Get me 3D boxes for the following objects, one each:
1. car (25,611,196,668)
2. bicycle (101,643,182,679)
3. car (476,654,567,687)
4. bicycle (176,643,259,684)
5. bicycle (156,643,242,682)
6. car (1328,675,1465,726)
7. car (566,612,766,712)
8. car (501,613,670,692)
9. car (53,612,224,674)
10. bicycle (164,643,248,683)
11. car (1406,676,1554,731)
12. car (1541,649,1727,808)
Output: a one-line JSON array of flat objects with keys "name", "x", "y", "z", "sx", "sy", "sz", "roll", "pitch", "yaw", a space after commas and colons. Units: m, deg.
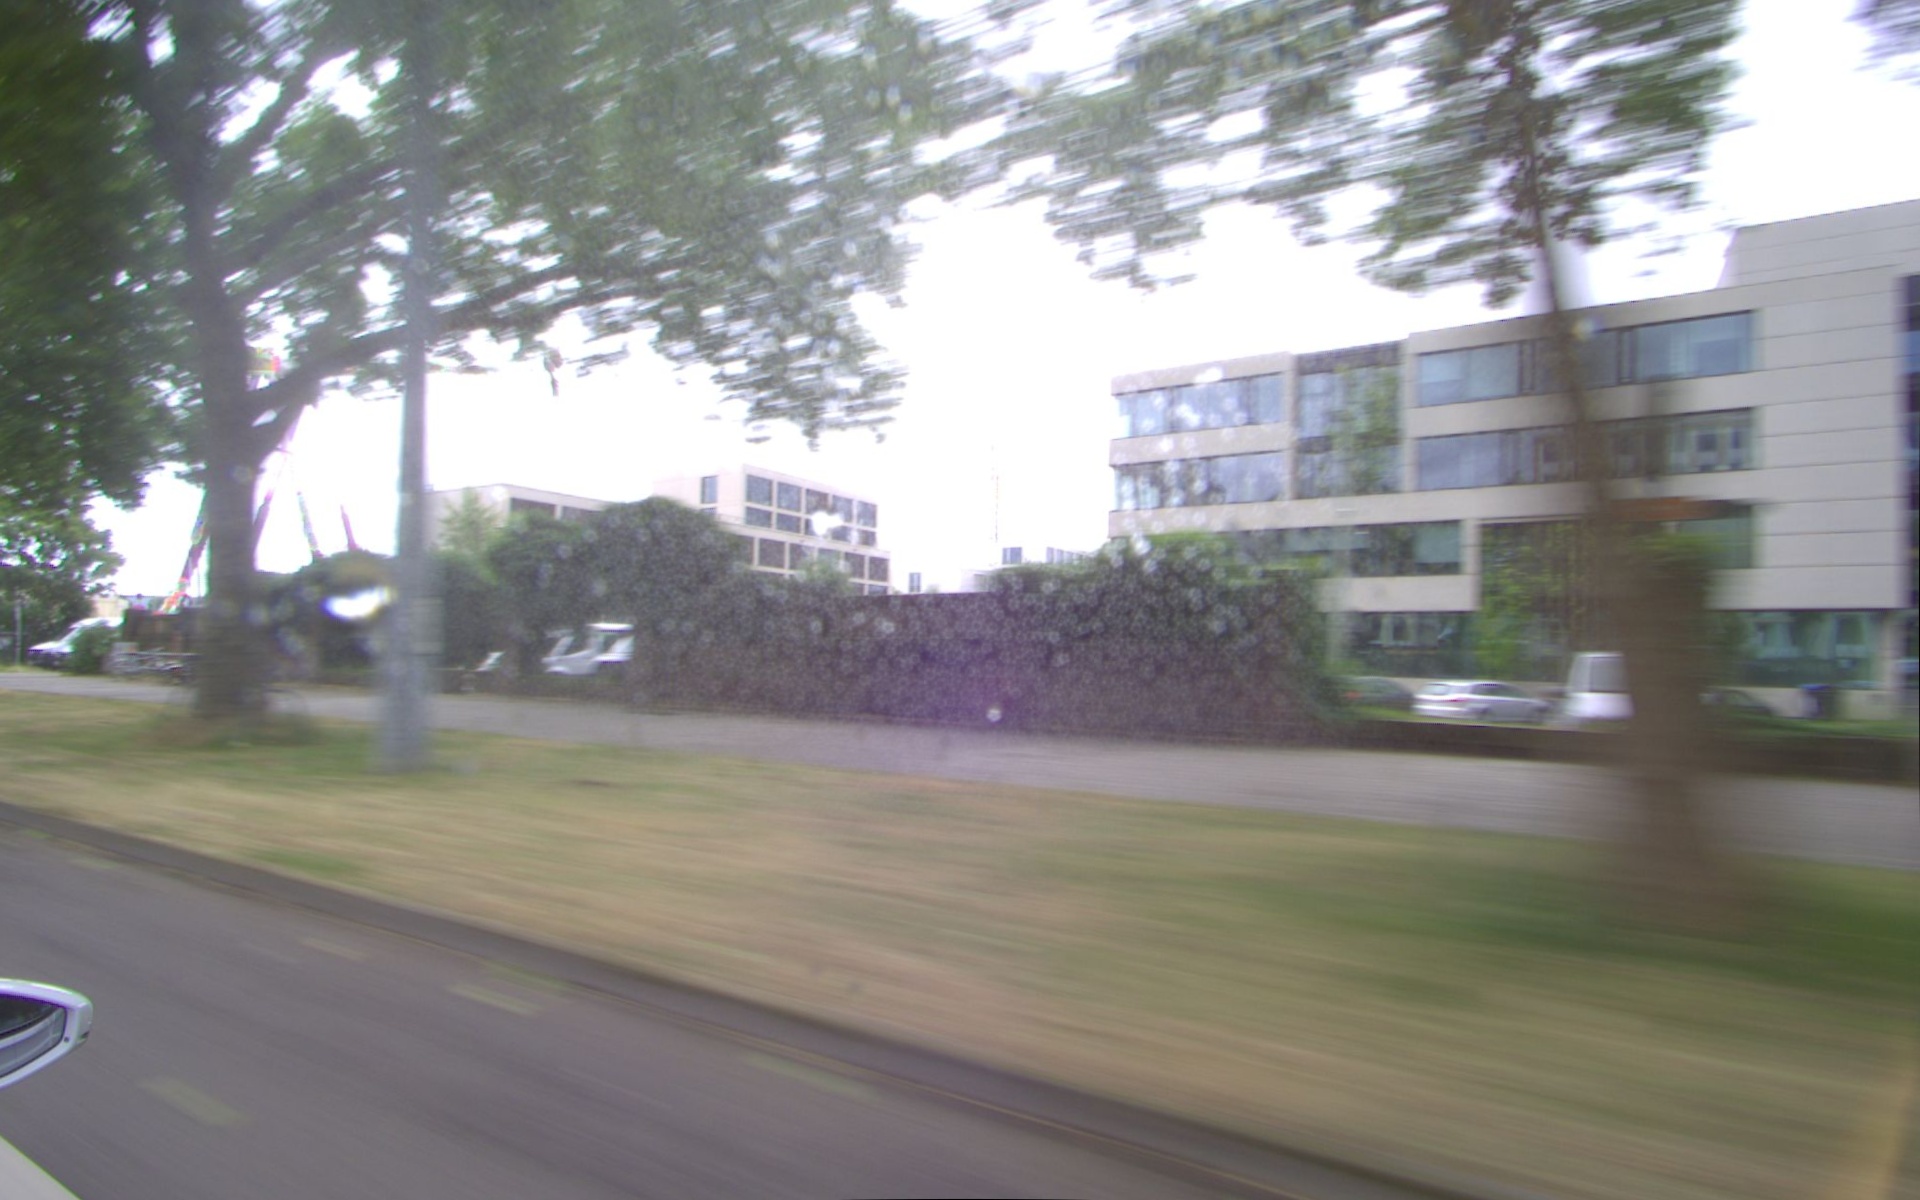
[{"name": "car", "x": -41.430, "y": 2.002, "z": 49.049, "sx": 2.069, "sy": 2.587, "sz": 6.019, "roll": -1, "pitch": -4, "yaw": 30}, {"name": "bicycle", "x": -25.985, "y": 1.922, "z": 31.827, "sx": 0.542, "sy": 1.105, "sz": 1.919, "roll": -1, "pitch": -2, "yaw": 30}, {"name": "car", "x": -19.605, "y": 3.141, "z": 44.808, "sx": 3.527, "sy": 1.437, "sz": 1.601, "roll": 3, "pitch": -4, "yaw": -34}, {"name": "bicycle", "x": -21.631, "y": 1.829, "z": 29.202, "sx": 0.542, "sy": 1.119, "sz": 1.888, "roll": -1, "pitch": -2, "yaw": 30}, {"name": "bicycle", "x": -22.645, "y": 1.850, "z": 29.842, "sx": 0.542, "sy": 1.108, "sz": 1.972, "roll": -1, "pitch": -2, "yaw": 30}, {"name": "car", "x": 15.211, "y": 3.452, "z": 34.906, "sx": 4.342, "sy": 1.638, "sz": 1.994, "roll": 2, "pitch": -3, "yaw": -24}, {"name": "car", "x": -7.826, "y": 1.778, "z": 27.314, "sx": 2.044, "sy": 2.449, "sz": 5.233, "roll": -1, "pitch": -6, "yaw": 29}, {"name": "car", "x": -11.680, "y": 1.724, "z": 31.640, "sx": 1.641, "sy": 2.291, "sz": 5.095, "roll": -1, "pitch": -5, "yaw": 29}, {"name": "car", "x": -38.594, "y": 2.123, "z": 47.241, "sx": 2.010, "sy": 2.565, "sz": 5.783, "roll": -1, "pitch": -6, "yaw": 31}, {"name": "bicycle", "x": -22.146, "y": 1.831, "z": 29.453, "sx": 0.542, "sy": 1.111, "sz": 1.898, "roll": -1, "pitch": -2, "yaw": 30}, {"name": "car", "x": 16.813, "y": 3.314, "z": 32.369, "sx": 4.342, "sy": 1.638, "sz": 1.994, "roll": 2, "pitch": -3, "yaw": -24}, {"name": "car", "x": 10.229, "y": 1.817, "z": 15.563, "sx": 1.970, "sy": 2.038, "sz": 4.874, "roll": -1, "pitch": -4, "yaw": 29}]
